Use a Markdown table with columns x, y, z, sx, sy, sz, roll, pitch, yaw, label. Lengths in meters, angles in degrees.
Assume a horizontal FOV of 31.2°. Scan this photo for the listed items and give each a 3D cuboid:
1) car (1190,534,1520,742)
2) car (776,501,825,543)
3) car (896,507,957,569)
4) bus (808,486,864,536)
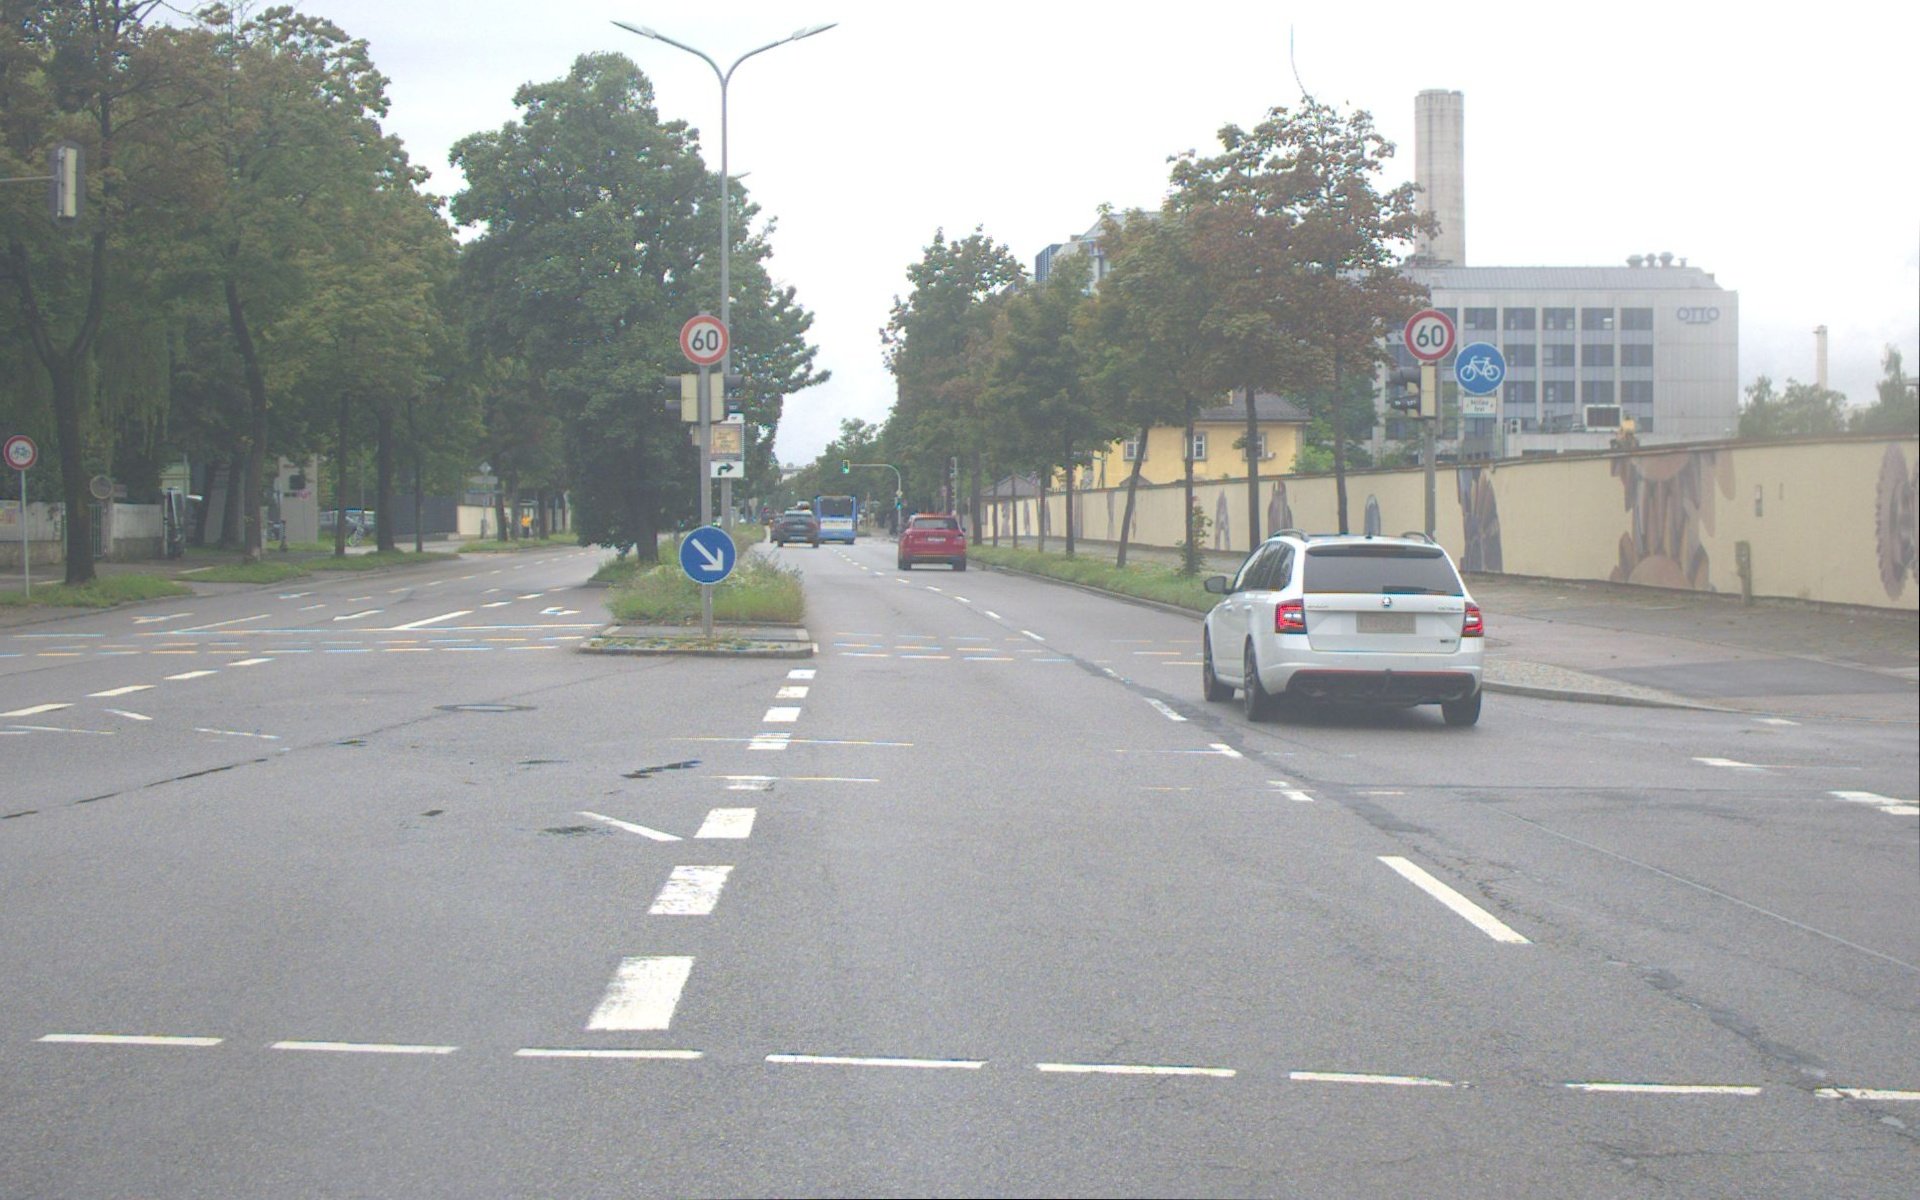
| x | y | z | sx | sy | sz | roll | pitch | yaw | label |
| --- | --- | --- | --- | --- | --- | --- | --- | --- | --- |
| 3.035 | 0.236 | 27.350 | 1.877 | 1.463 | 4.503 | 1 | 1 | -3 | car |
| -7.273 | -3.559 | 156.857 | 2.084 | 1.859 | 4.387 | 1 | 1 | -4 | car |
| -0.964 | -1.773 | 97.263 | 1.484 | 1.710 | 3.552 | 1 | 1 | -4 | car |
| -8.165 | -5.835 | 225.509 | 3.220 | 3.116 | 10.347 | 1 | 1 | -4 | bus |
